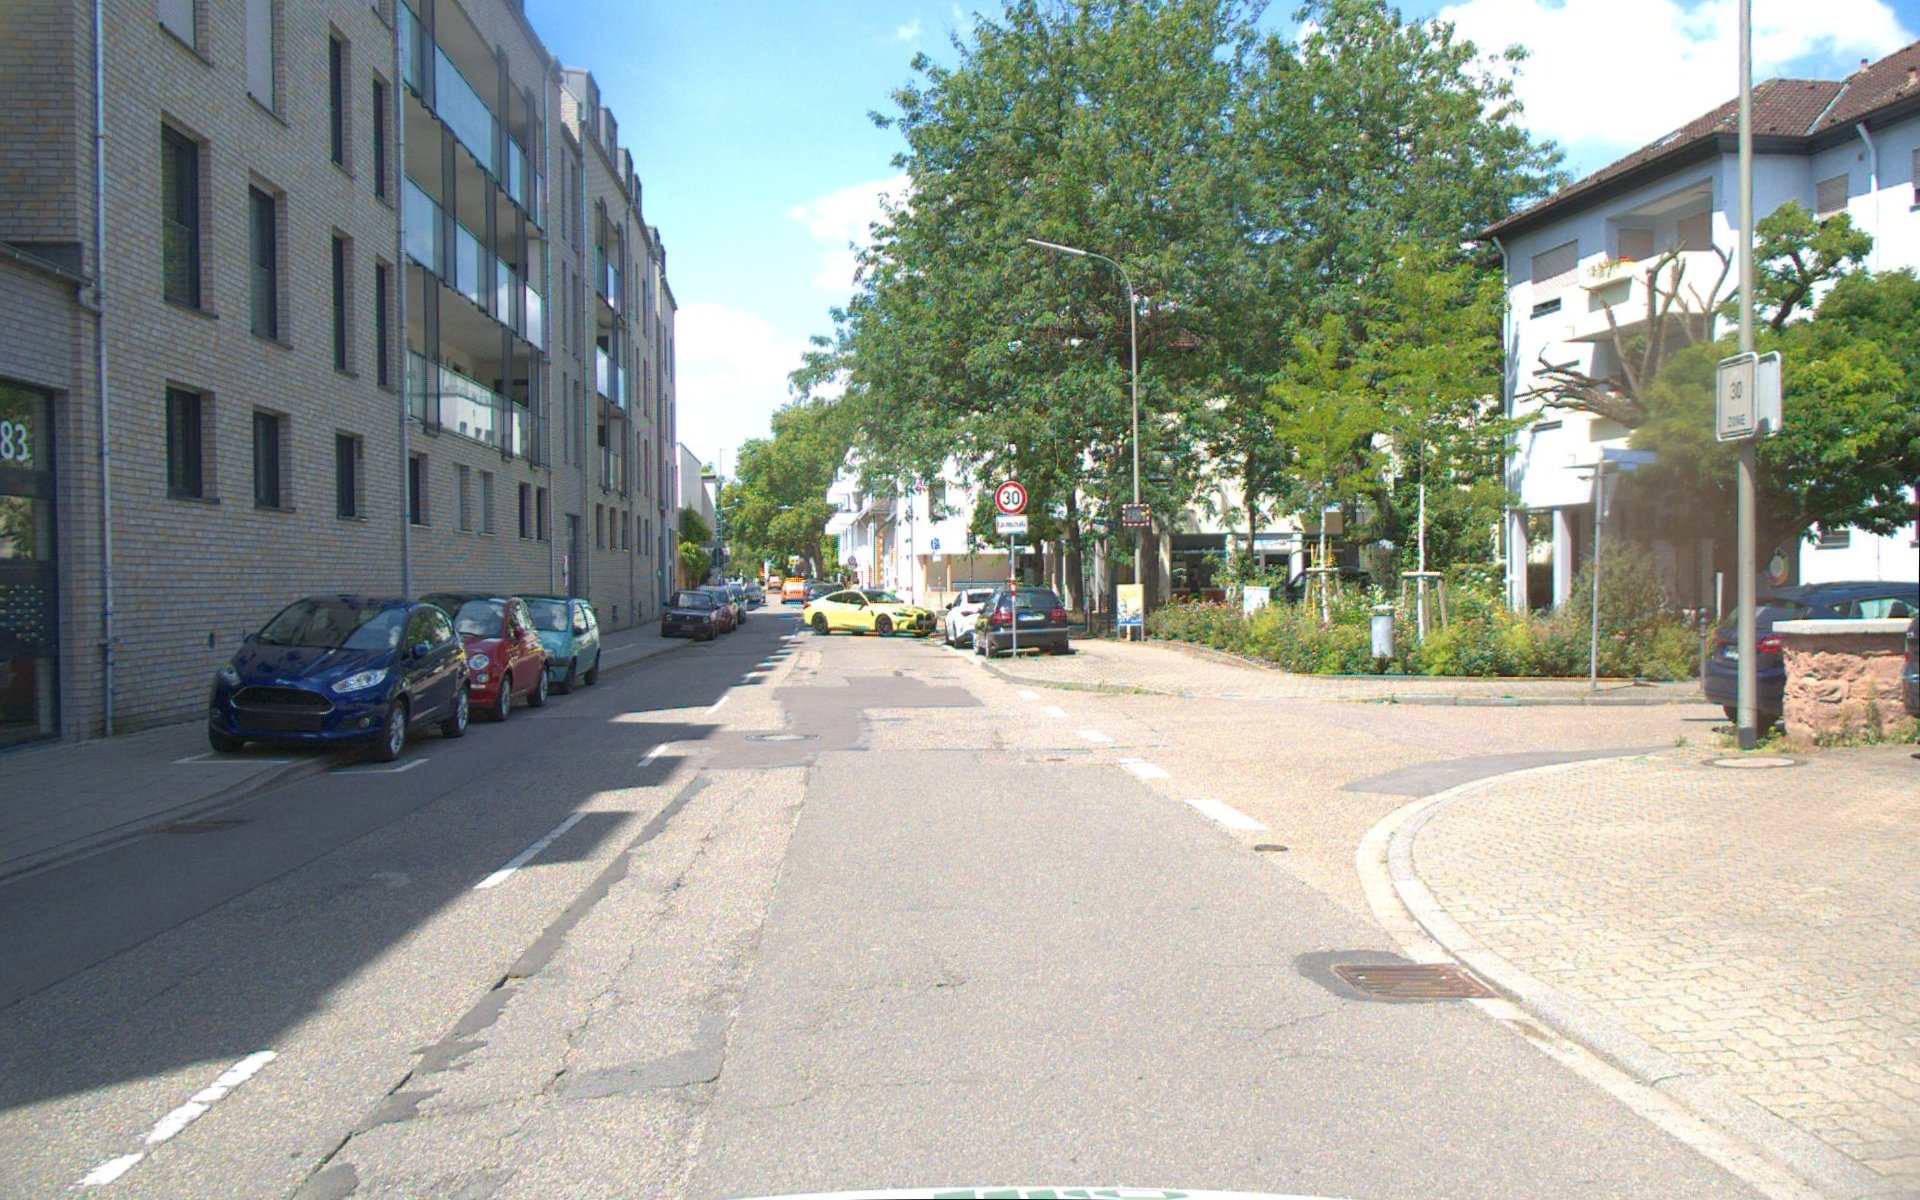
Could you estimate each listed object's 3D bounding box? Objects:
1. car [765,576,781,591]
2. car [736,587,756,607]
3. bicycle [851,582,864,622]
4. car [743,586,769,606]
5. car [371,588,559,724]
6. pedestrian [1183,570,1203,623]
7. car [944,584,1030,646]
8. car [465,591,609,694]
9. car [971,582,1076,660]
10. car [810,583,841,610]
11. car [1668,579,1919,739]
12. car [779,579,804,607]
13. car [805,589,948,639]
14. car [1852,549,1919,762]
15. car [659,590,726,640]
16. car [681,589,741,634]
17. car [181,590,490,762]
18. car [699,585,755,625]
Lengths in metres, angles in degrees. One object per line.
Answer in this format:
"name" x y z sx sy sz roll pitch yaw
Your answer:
"car" -26.489 -2.341 234.351 2.116 2.049 3.993 -1 1 -7
"car" -23.260 -0.333 179.769 1.954 2.049 3.996 -1 0 -5
"bicycle" -3.885 0.069 62.897 0.468 1.516 0.575 -1 0 -5
"car" -16.247 -0.359 132.074 1.955 1.545 3.995 -1 1 -6
"car" -6.236 0.640 21.176 1.559 1.581 3.568 0 0 -4
"pedestrian" 8.365 -0.117 59.369 0.583 1.891 0.604 -1 0 19
"car" 0.631 0.352 41.462 1.744 1.445 3.996 -1 0 -5
"car" -6.658 0.624 26.368 1.559 1.481 3.700 1 0 -4
"car" 1.259 0.397 34.554 1.659 1.444 3.996 -3 1 -5
"car" -7.628 -0.206 93.979 1.681 1.426 3.998 -1 1 -3
"car" 9.079 0.565 16.213 3.527 1.474 1.740 0 -1 -5
"car" -12.652 -0.569 124.307 1.803 2.049 3.996 -1 1 -5
"car" -2.598 0.402 50.722 4.317 1.405 1.987 2 1 44
"car" 9.092 0.309 12.065 4.181 1.557 1.741 -3 -1 -1
"car" -8.275 0.447 51.370 1.698 1.467 3.997 -1 0 -4
"car" -8.458 0.371 56.410 1.698 1.467 3.997 -1 0 -4
"car" -6.019 0.654 16.440 1.688 1.481 4.003 1 0 -3
"car" -8.943 0.167 63.810 1.790 1.445 3.998 1 1 -3
